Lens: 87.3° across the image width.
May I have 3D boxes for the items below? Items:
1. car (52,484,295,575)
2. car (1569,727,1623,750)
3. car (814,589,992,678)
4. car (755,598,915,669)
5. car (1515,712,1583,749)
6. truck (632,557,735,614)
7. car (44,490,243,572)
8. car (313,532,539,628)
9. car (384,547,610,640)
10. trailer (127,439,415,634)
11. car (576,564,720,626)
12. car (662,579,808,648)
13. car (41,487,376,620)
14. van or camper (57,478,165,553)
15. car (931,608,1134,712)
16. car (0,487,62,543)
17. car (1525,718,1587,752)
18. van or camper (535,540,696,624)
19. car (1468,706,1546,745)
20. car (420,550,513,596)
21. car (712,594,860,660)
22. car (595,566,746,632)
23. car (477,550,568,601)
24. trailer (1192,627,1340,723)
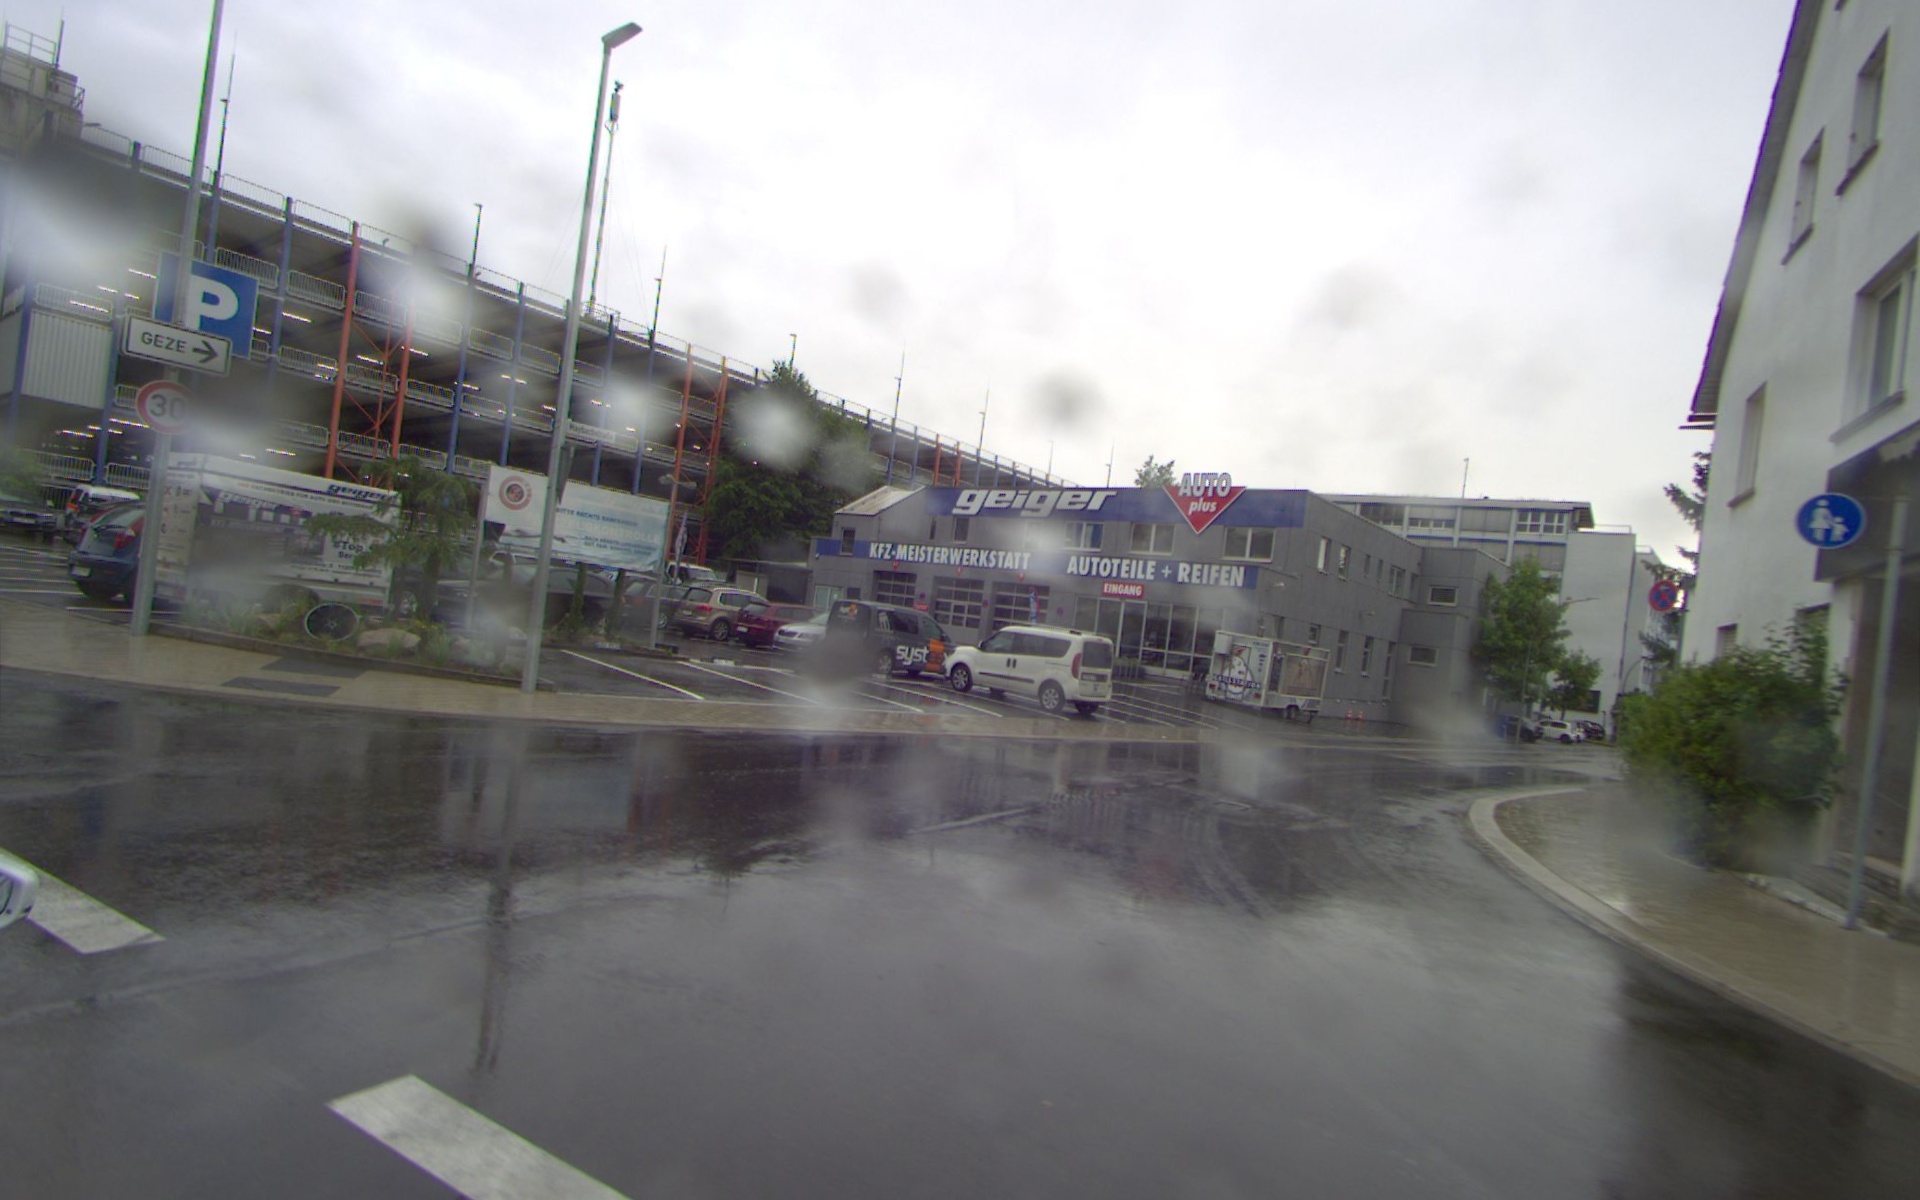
[{"bbox_3d":[-19.617,-1.706,25.341,1.807,1.577,4.367,7,-1,26],"label":"car"},{"bbox_3d":[57.395,12.486,90.733,3.939,1.501,1.998,4,-6,36],"label":"car"},{"bbox_3d":[-1.416,0.923,26.462,1.868,1.851,4.467,7,0,43],"label":"car"},{"bbox_3d":[-3.430,0.966,28.158,1.839,1.515,4.120,7,0,42],"label":"car"},{"bbox_3d":[42.721,9.442,72.971,3.938,2.034,1.998,5,-6,35],"label":"car"},{"bbox_3d":[-14.009,-0.755,50.819,5.229,2.291,1.997,4,-6,37],"label":"truck"},{"bbox_3d":[-21.693,-1.793,26.879,1.613,1.518,3.696,7,-2,28],"label":"car"},{"bbox_3d":[-10.834,-0.348,20.691,1.700,1.466,3.737,7,-1,24],"label":"car"},{"bbox_3d":[-8.886,-0.060,19.650,1.662,1.331,3.737,7,-1,24],"label":"car"},{"bbox_3d":[-9.426,-0.803,13.933,1.522,2.197,2.708,7,-1,29],"label":"trailer"},{"bbox_3d":[-10.574,-0.126,34.371,1.836,1.602,4.355,7,0,36],"label":"car"},{"bbox_3d":[-6.914,0.455,31.301,1.836,1.687,4.127,7,0,36],"label":"car"},{"bbox_3d":[-11.402,-0.630,15.540,1.621,1.547,3.734,6,-1,27],"label":"car"},{"bbox_3d":[-28.528,-2.872,33.743,4.396,2.060,1.837,7,-1,39],"label":"van or camper"},{"bbox_3d":[1.682,1.417,24.221,4.422,1.851,1.887,7,0,37],"label":"car"},{"bbox_3d":[-29.996,-2.791,31.480,4.141,1.459,1.934,7,-1,36],"label":"car"},{"bbox_3d":[46.302,10.466,78.164,3.938,2.034,1.998,5,-6,35],"label":"car"},{"bbox_3d":[-12.220,-0.574,35.998,2.187,2.354,4.956,7,0,35],"label":"van or camper"},{"bbox_3d":[34.108,7.845,62.764,3.938,1.809,1.998,5,-6,35],"label":"car"},{"bbox_3d":[-21.145,-1.181,43.058,3.942,1.501,1.895,4,-6,39],"label":"car"},{"bbox_3d":[-5.147,0.843,30.182,1.836,1.515,4.127,7,0,36],"label":"car"},{"bbox_3d":[-9.280,0.013,32.560,1.836,1.602,4.355,7,0,36],"label":"car"},{"bbox_3d":[-19.582,-1.111,44.973,3.942,1.832,1.894,4,-6,39],"label":"car"},{"bbox_3d":[11.731,2.913,38.286,2.898,2.762,5.868,4,-7,44],"label":"trailer"}]
